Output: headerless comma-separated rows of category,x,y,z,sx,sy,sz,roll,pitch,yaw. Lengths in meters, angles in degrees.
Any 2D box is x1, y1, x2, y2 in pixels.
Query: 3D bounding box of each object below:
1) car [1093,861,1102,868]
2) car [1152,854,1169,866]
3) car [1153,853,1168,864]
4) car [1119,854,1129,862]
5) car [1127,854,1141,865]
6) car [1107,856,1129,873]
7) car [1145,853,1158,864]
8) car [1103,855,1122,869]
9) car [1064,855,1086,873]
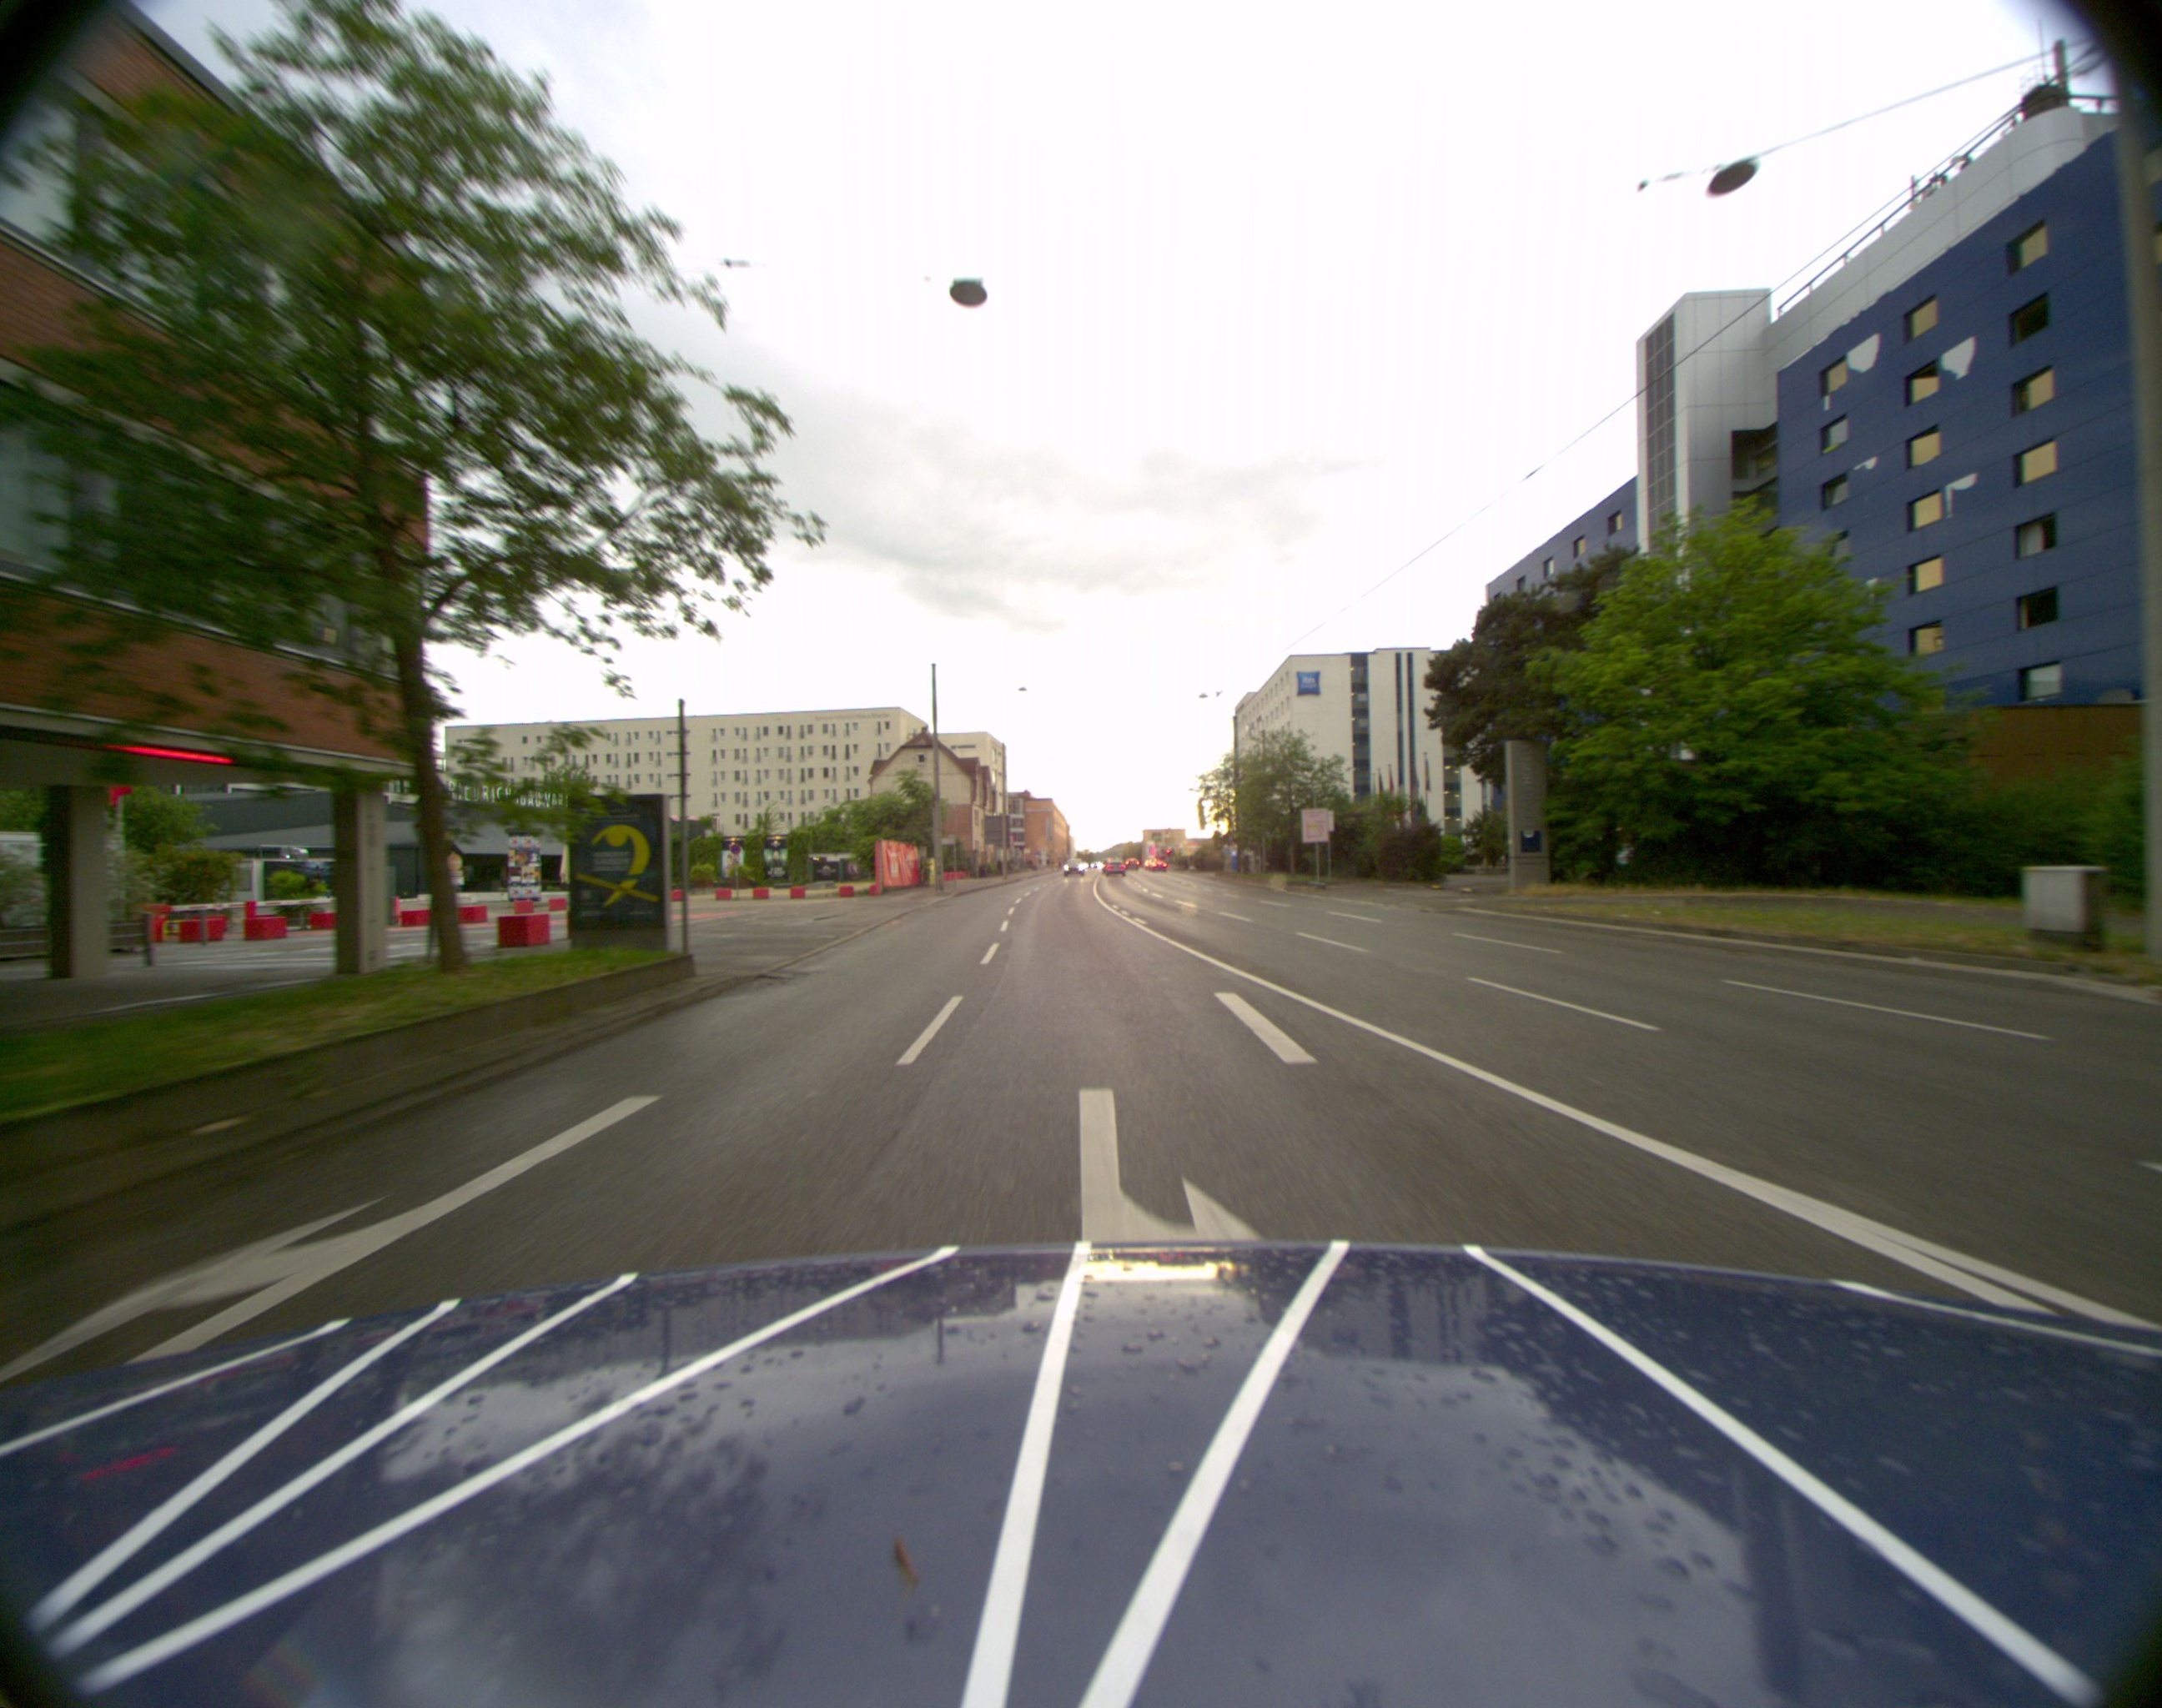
car,3.747,2.396,170.781,1.798,1.501,4.001,0,-1,2
car,10.447,0.752,100.126,1.767,1.559,4.000,1,0,0
car,11.487,0.661,110.047,1.767,1.559,4.000,1,0,0
car,8.909,0.745,156.950,1.998,1.543,4.000,-1,0,2
car,7.929,0.760,113.561,1.998,1.543,4.000,-1,0,2
car,3.499,0.961,72.565,1.998,1.543,4.000,-1,0,2
car,11.198,0.700,121.060,1.767,1.559,4.000,1,0,0
car,3.556,0.862,85.812,1.998,1.543,4.000,-1,0,2
car,-0.552,0.994,76.756,1.998,1.656,5.425,-3,0,1
